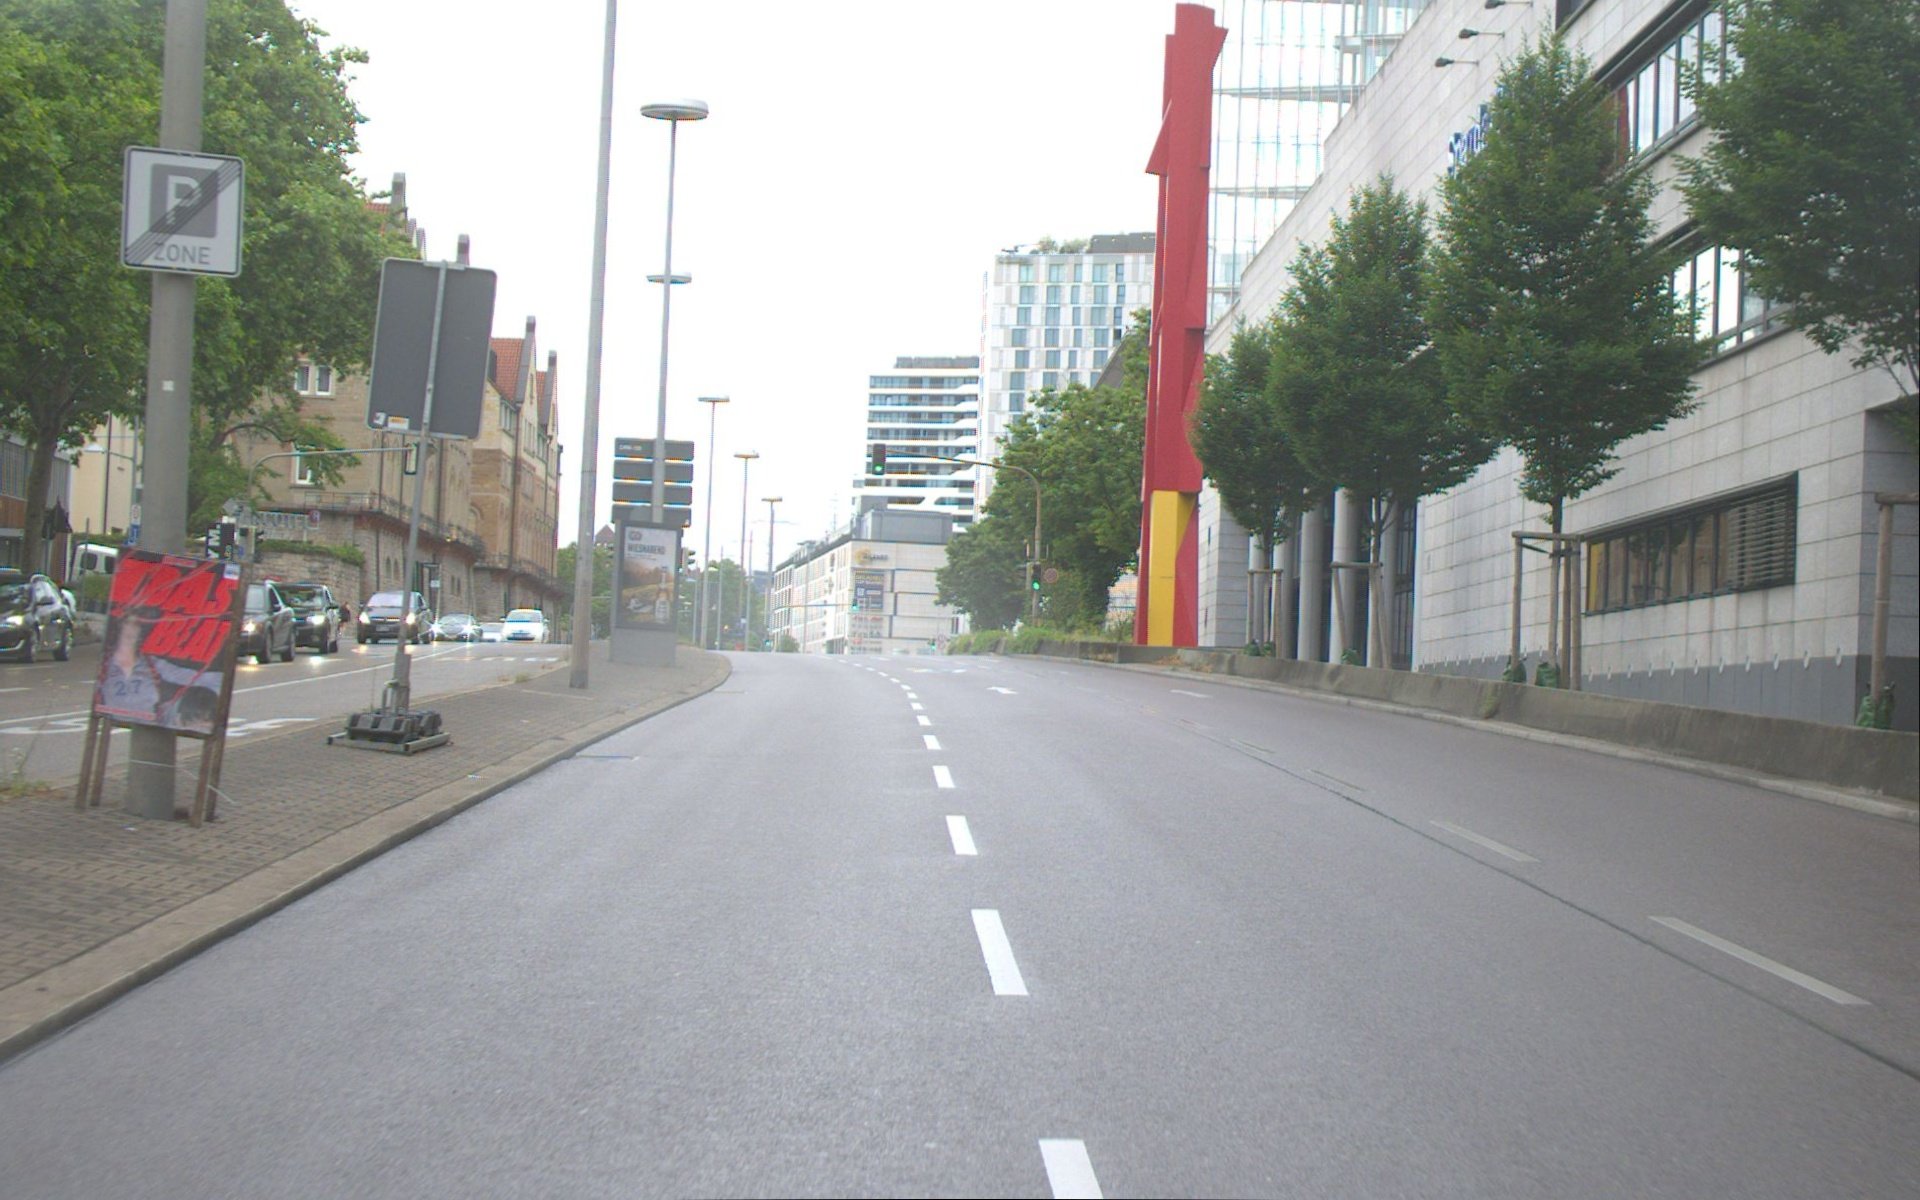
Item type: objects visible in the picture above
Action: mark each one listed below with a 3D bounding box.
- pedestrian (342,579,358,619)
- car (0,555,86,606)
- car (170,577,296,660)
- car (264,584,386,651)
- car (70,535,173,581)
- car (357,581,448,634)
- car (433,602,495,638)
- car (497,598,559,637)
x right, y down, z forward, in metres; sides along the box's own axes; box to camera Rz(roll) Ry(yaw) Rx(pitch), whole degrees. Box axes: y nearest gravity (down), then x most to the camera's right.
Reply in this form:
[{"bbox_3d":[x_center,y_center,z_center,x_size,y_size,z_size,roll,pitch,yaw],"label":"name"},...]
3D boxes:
[{"bbox_3d":[-24.901,-0.028,140.370,0.498,1.605,0.500,2,-1,2],"label":"pedestrian"},{"bbox_3d":[-29.528,-0.610,106.577,1.823,1.506,4.568,-1,-1,37],"label":"car"},{"bbox_3d":[-12.887,0.307,61.089,1.686,1.405,4.001,1,0,-5],"label":"car"},{"bbox_3d":[-13.738,0.399,74.567,1.819,1.398,4.000,0,-1,1],"label":"car"},{"bbox_3d":[-32.565,-1.623,133.605,3.628,1.695,1.825,0,-1,-4],"label":"car"},{"bbox_3d":[-15.508,0.216,95.835,1.819,1.398,4.000,0,-1,1],"label":"car"},{"bbox_3d":[-19.652,0.795,136.334,1.819,1.380,4.000,0,-1,1],"label":"car"},{"bbox_3d":[-16.605,0.687,132.324,1.819,1.463,4.000,0,-1,1],"label":"car"}]
